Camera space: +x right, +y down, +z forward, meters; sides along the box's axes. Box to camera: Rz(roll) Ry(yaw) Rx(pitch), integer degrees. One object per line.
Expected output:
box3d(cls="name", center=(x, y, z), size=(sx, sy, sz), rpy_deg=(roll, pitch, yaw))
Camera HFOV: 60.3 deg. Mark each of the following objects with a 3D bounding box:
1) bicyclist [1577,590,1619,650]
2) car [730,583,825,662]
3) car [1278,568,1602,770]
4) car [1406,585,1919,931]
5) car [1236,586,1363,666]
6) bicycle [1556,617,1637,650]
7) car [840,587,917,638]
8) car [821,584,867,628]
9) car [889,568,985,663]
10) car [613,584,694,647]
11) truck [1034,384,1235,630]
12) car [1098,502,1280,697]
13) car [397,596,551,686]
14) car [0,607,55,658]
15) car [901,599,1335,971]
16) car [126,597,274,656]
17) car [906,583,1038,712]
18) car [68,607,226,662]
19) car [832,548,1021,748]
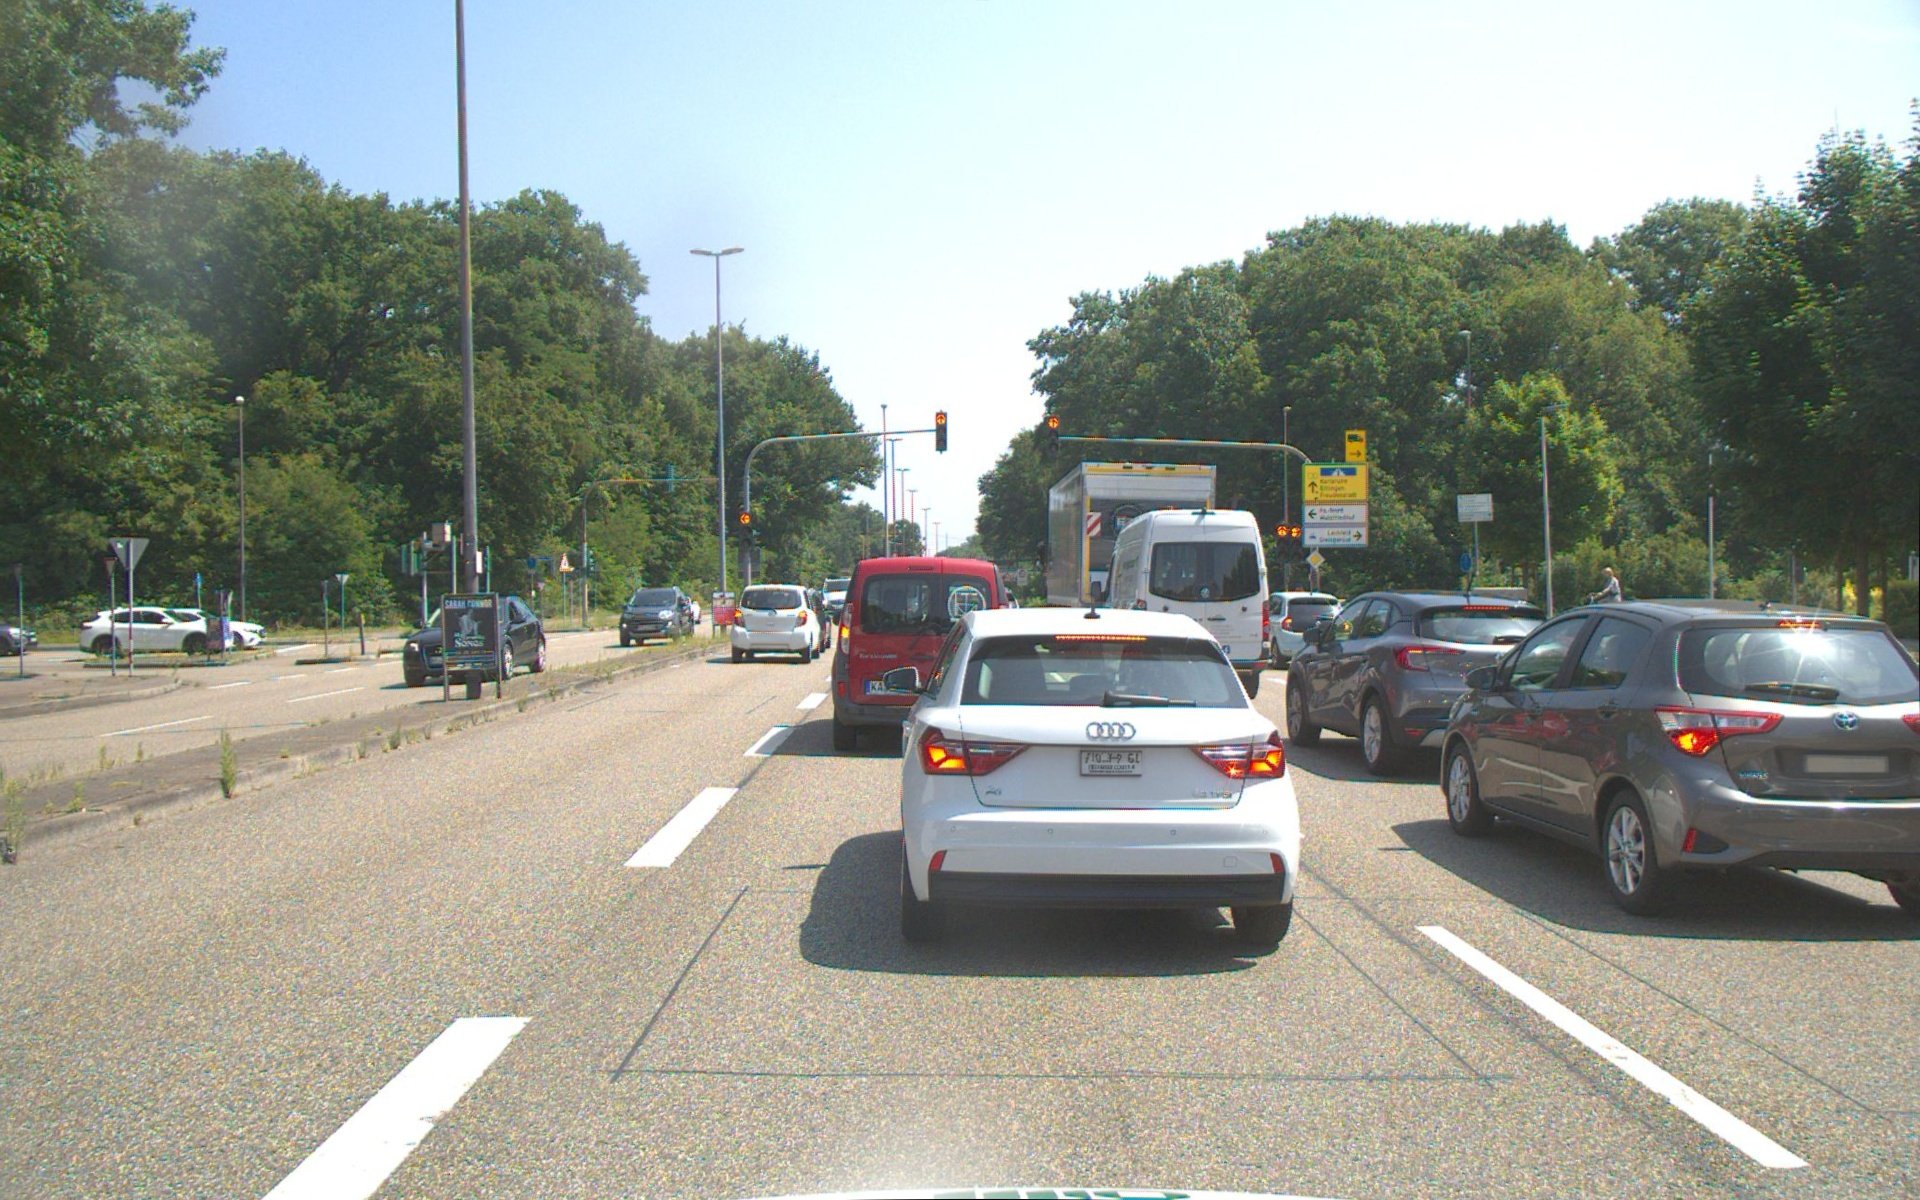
box3d(cls="bicyclist", center=(15.931, 0.498, 41.296), size=(0.809, 1.464, 0.599), rpy_deg=(-1, 0, 2))
box3d(cls="car", center=(-3.730, 0.427, 34.321), size=(1.677, 1.519, 4.090), rpy_deg=(0, 0, -2))
box3d(cls="car", center=(4.269, 0.542, 15.381), size=(1.677, 1.621, 4.090), rpy_deg=(0, 0, -2))
box3d(cls="car", center=(4.051, 0.711, 9.475), size=(1.677, 1.504, 4.090), rpy_deg=(3, 0, -2))
box3d(cls="car", center=(7.073, 0.500, 34.851), size=(1.677, 1.573, 4.090), rpy_deg=(0, 0, -2))
box3d(cls="bicycle", center=(15.891, 0.839, 41.289), size=(1.783, 0.779, 0.601), rpy_deg=(-1, 0, 2))
box3d(cls="car", center=(-3.482, 0.510, 69.983), size=(1.968, 2.049, 3.970), rpy_deg=(-1, 0, -24))
box3d(cls="car", center=(-5.659, 0.261, 80.364), size=(1.956, 2.049, 3.993), rpy_deg=(-1, 0, -8))
box3d(cls="car", center=(-0.481, 0.265, 31.135), size=(1.677, 1.660, 4.090), rpy_deg=(0, 0, -2))
box3d(cls="car", center=(-8.831, 0.421, 47.911), size=(1.653, 1.628, 3.883), rpy_deg=(-3, 0, -2))
box3d(cls="truck", center=(3.503, -1.773, 36.515), size=(3.025, 4.511, 11.578), rpy_deg=(1, 0, -1))
box3d(cls="car", center=(3.377, -0.027, 25.319), size=(1.990, 2.690, 4.844), rpy_deg=(0, 0, -2))
box3d(cls="car", center=(-8.549, 0.675, 29.421), size=(1.645, 1.362, 3.998), rpy_deg=(-3, 1, -2))
box3d(cls="car", center=(-34.135, 1.097, 57.522), size=(4.294, 1.711, 1.805), rpy_deg=(1, -1, -12))
box3d(cls="car", center=(0.546, 0.719, 8.477), size=(1.677, 1.410, 4.090), rpy_deg=(0, 0, -2))
box3d(cls="car", center=(-26.793, 0.922, 58.441), size=(4.291, 1.710, 1.807), rpy_deg=(-4, 0, -9))
box3d(cls="car", center=(0.092, 0.601, 23.408), size=(1.677, 1.660, 4.090), rpy_deg=(0, 0, -2))
box3d(cls="car", center=(-26.786, 1.120, 54.610), size=(4.289, 1.711, 1.807), rpy_deg=(1, 0, -9))
box3d(cls="car", center=(-0.379, 0.418, 16.814), size=(1.677, 1.779, 4.090), rpy_deg=(0, 0, -2))
